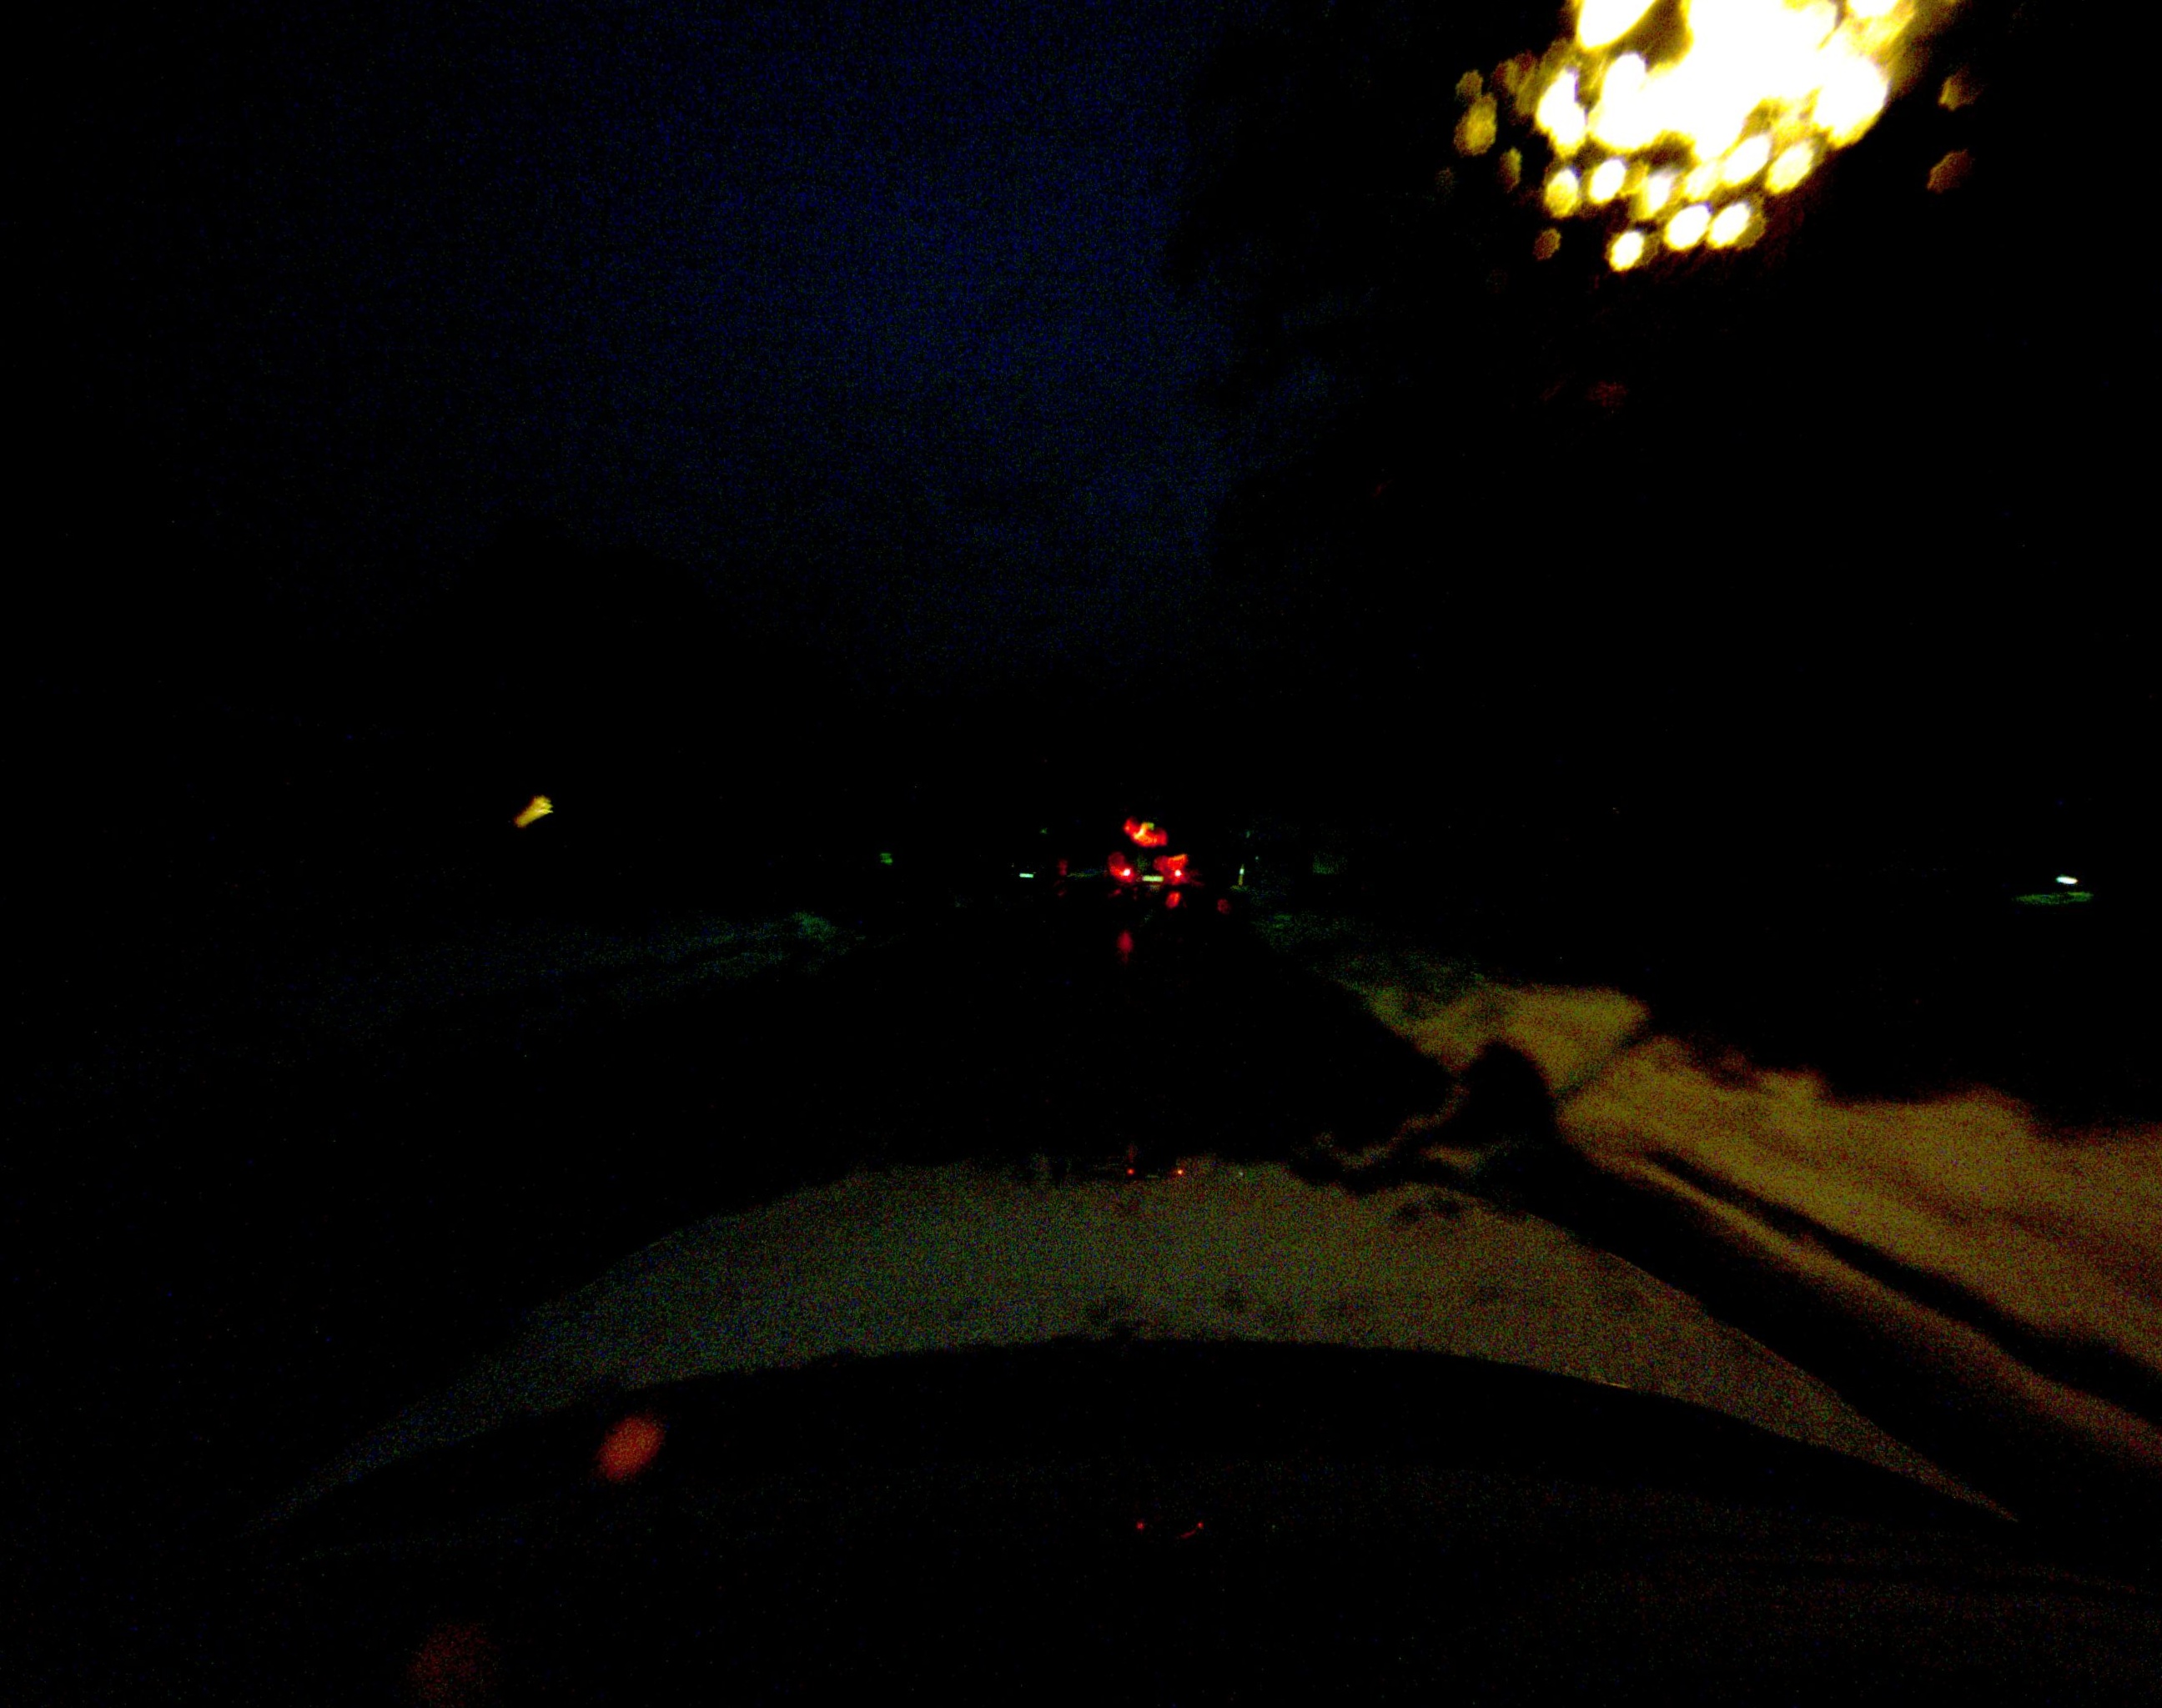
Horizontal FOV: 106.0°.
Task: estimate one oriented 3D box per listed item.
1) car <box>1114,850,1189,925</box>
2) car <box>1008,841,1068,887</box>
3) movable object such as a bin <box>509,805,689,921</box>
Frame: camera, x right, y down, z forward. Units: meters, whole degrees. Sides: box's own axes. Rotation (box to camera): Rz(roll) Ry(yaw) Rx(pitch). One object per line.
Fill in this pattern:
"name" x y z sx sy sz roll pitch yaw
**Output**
"car" 1.847 0.847 22.051 1.815 1.797 3.580 2 -1 3
"car" -1.595 0.338 31.436 1.709 1.534 3.525 1 3 7
"movable object such as a bin" -8.003 0.109 13.545 2.342 1.648 1.450 5 2 26
